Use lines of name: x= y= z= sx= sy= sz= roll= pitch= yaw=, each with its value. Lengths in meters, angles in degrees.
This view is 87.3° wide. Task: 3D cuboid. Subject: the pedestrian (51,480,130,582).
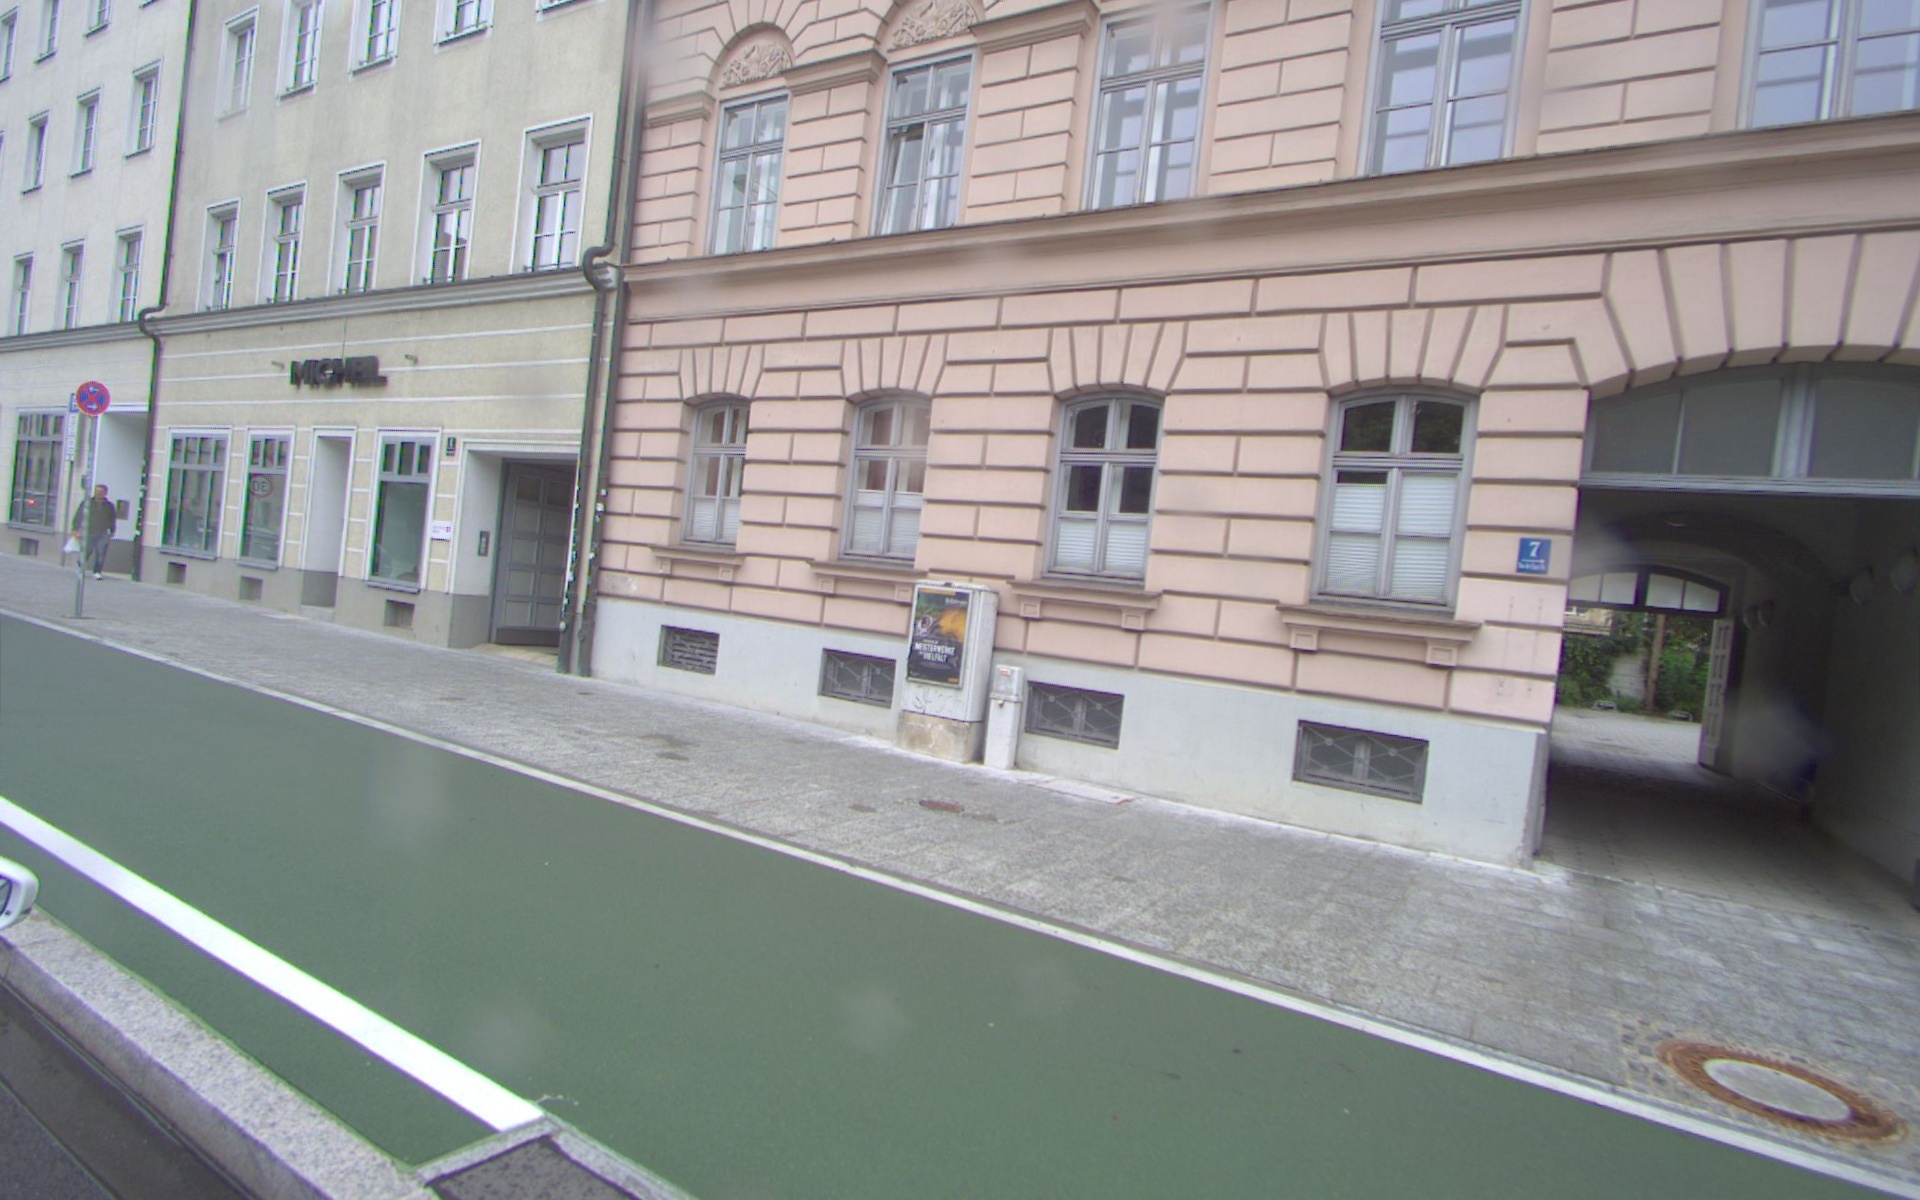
pedestrian: x=-16.239 y=-1.287 z=18.790 sx=0.819 sy=1.767 sz=0.794 roll=7 pitch=1 yaw=32
